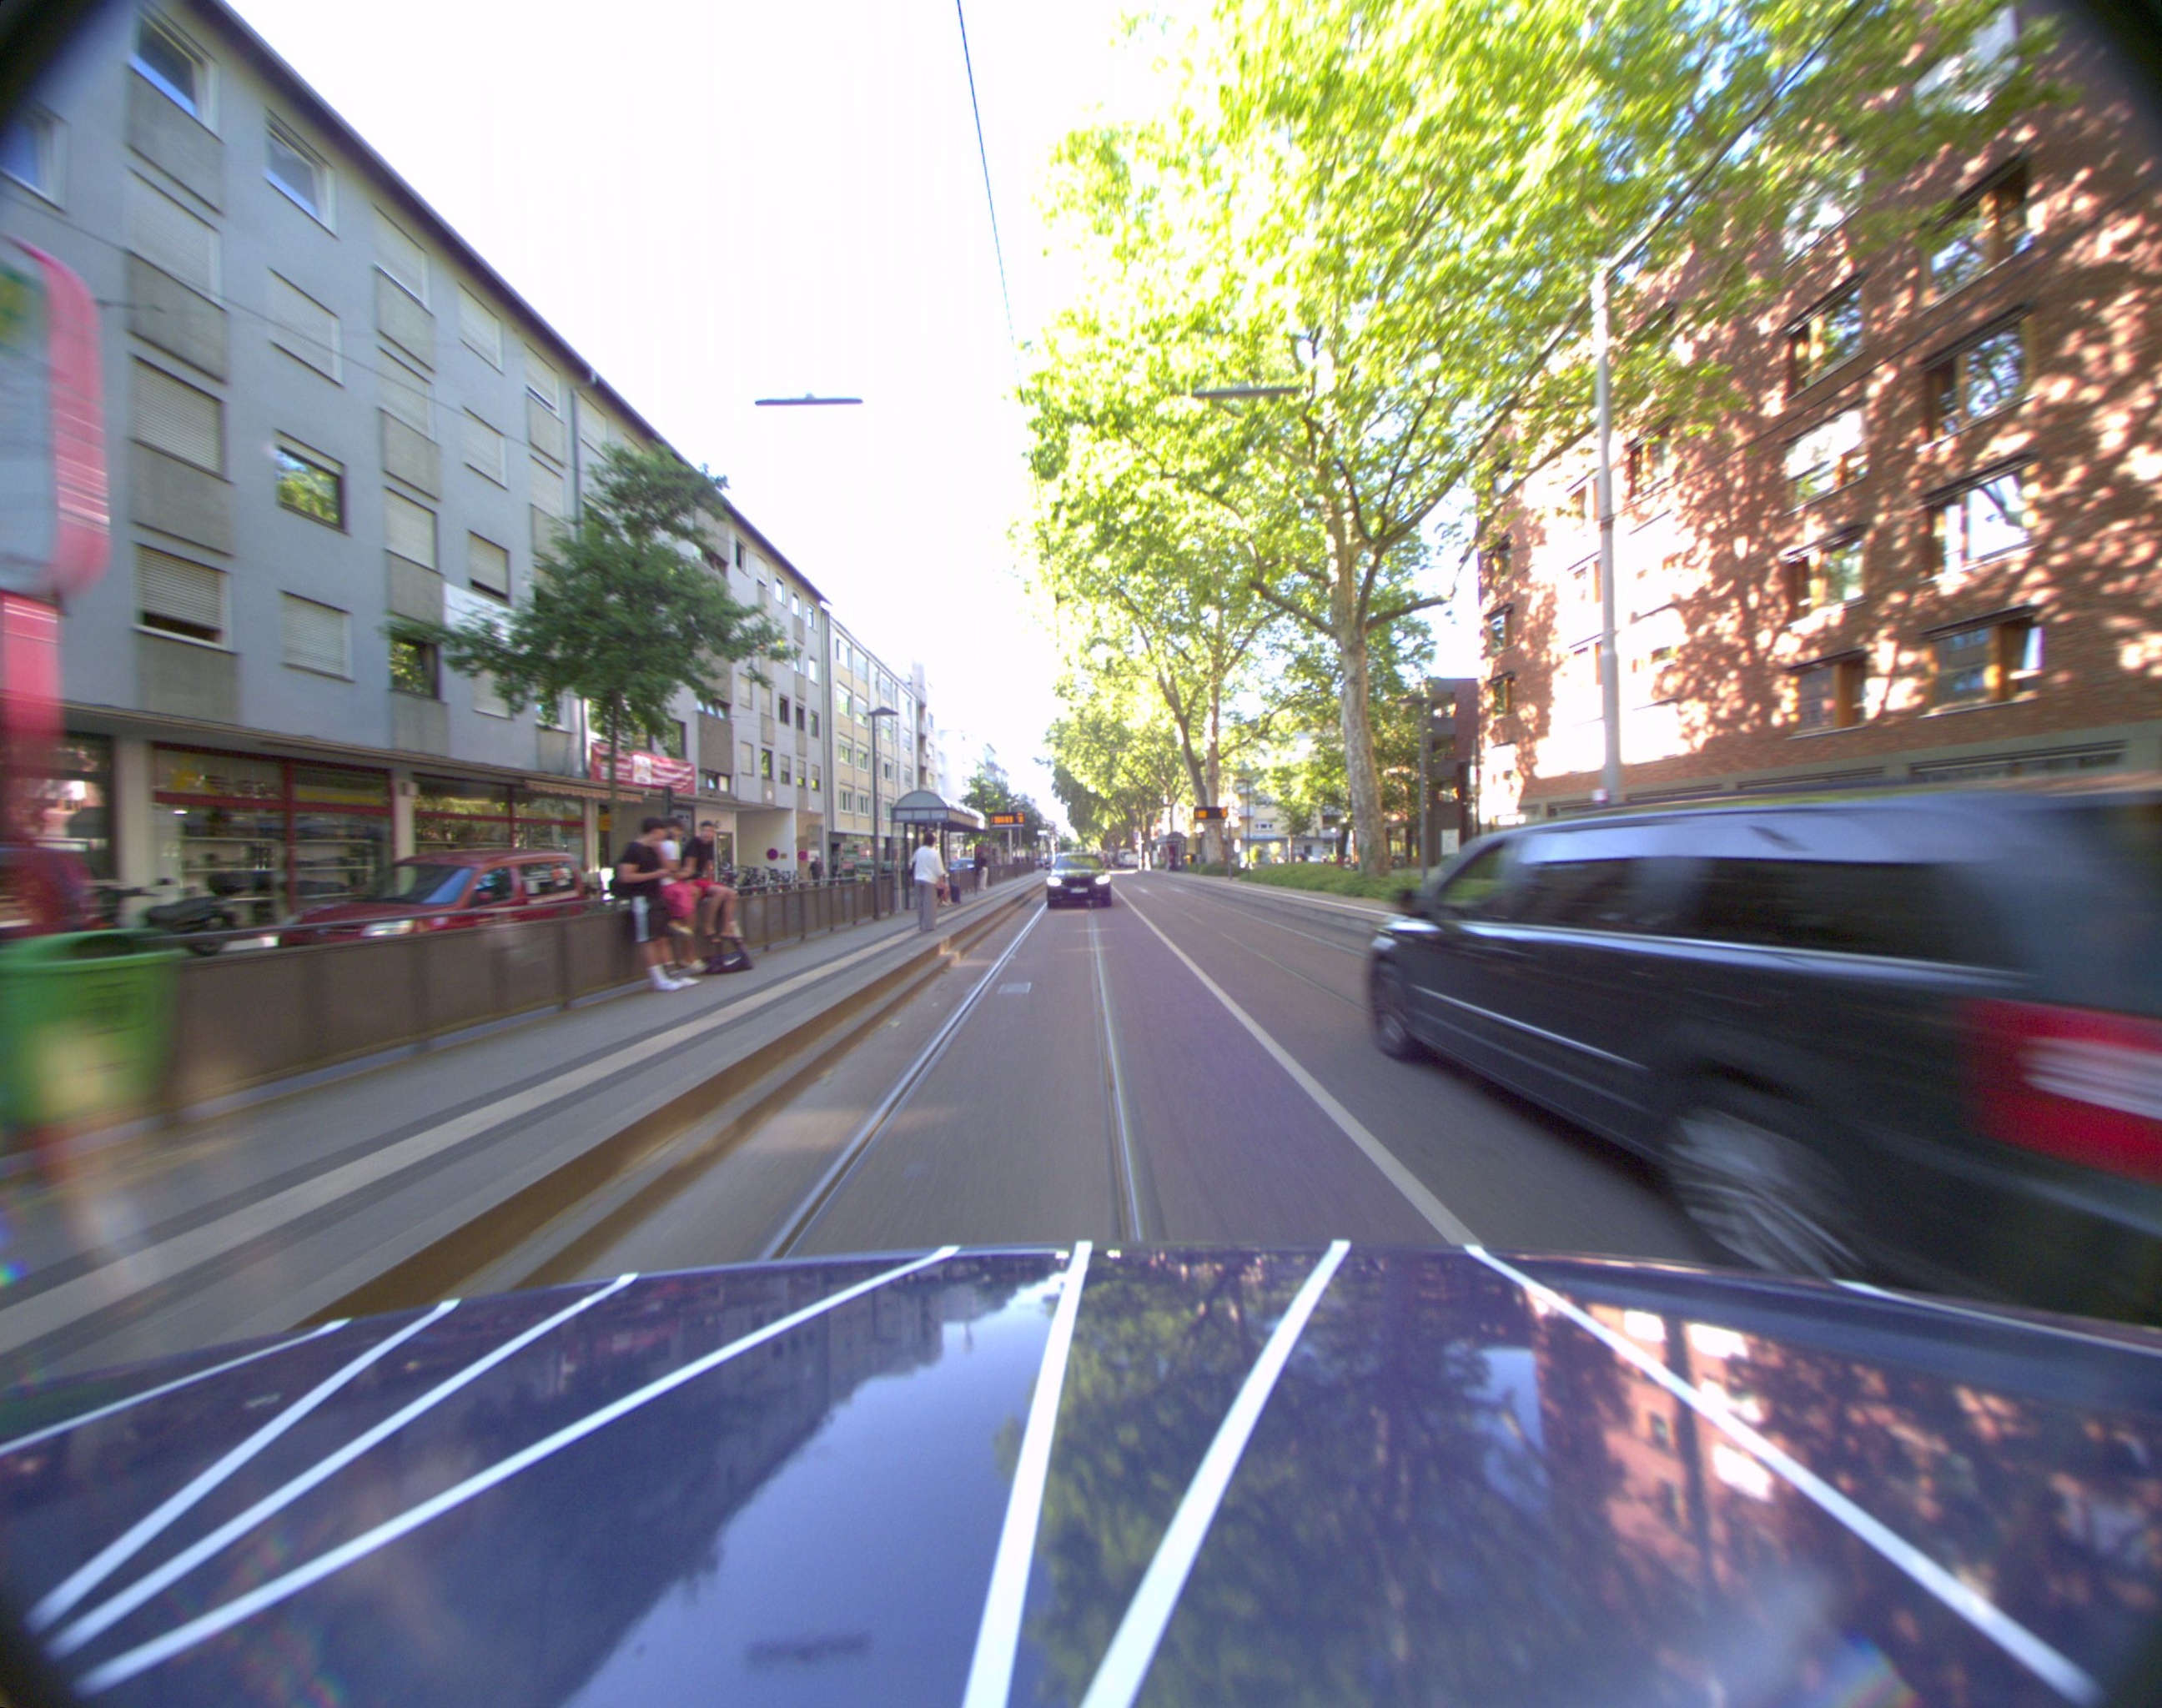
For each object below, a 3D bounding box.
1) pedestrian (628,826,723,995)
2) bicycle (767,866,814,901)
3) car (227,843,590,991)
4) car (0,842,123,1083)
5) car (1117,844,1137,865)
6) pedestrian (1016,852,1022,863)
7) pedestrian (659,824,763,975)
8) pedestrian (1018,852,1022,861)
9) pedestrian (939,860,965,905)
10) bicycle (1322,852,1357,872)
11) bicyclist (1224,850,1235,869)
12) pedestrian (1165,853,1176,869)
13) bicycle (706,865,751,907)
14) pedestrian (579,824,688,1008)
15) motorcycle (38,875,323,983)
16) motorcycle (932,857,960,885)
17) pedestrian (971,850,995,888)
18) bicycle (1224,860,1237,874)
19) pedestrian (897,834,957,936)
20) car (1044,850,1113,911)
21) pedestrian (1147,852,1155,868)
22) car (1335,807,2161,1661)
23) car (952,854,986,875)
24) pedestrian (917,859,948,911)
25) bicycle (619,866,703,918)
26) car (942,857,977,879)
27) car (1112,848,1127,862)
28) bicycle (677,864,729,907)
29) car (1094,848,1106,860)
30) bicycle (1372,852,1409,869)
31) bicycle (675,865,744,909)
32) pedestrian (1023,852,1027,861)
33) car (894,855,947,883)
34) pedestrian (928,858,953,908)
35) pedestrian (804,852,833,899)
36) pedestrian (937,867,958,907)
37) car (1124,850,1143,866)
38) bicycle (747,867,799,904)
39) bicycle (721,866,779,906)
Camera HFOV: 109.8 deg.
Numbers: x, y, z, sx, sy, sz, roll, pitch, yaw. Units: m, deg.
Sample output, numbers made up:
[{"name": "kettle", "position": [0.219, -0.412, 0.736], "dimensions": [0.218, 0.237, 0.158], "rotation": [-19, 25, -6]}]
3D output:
[{"name": "pedestrian", "position": [-4.416, 0.589, 8.304], "dimensions": [0.493, 1.760, 0.704], "rotation": [-2, 1, 15]}, {"name": "bicycle", "position": [-10.796, 1.062, 28.320], "dimensions": [0.773, 1.173, 2.782], "rotation": [4, -1, -4]}, {"name": "car", "position": [-9.573, 0.753, 11.392], "dimensions": [1.693, 1.745, 4.173], "rotation": [-2, 1, -1]}, {"name": "car", "position": [-9.640, 0.847, 4.716], "dimensions": [1.998, 1.885, 4.194], "rotation": [2, 0, 2]}, {"name": "car", "position": [6.696, 0.013, 110.251], "dimensions": [2.429, 2.833, 5.072], "rotation": [-3, 1, 0]}, {"name": "pedestrian", "position": [-8.781, 0.496, 107.466], "dimensions": [0.752, 1.645, 0.970], "rotation": [-2, 1, -1]}, {"name": "pedestrian", "position": [-4.341, 0.512, 8.979], "dimensions": [0.847, 1.691, 0.692], "rotation": [-2, 1, -6]}, {"name": "pedestrian", "position": [-10.976, 0.437, 136.347], "dimensions": [0.685, 1.645, 0.836], "rotation": [-2, 1, -1]}, {"name": "pedestrian", "position": [-3.641, 0.798, 21.437], "dimensions": [0.680, 1.198, 0.648], "rotation": [-2, 1, -10]}, {"name": "bicycle", "position": [16.860, 0.532, 49.678], "dimensions": [2.098, 1.182, 0.882], "rotation": [-2, 1, 17]}, {"name": "bicyclist", "position": [12.368, 0.462, 63.210], "dimensions": [0.735, 1.506, 0.892], "rotation": [-2, 1, 3]}, {"name": "pedestrian", "position": [6.847, 0.544, 58.110], "dimensions": [0.708, 1.197, 0.473], "rotation": [-2, 1, 2]}, {"name": "bicycle", "position": [-10.951, 0.963, 23.702], "dimensions": [0.774, 1.173, 2.779], "rotation": [4, -1, -16]}, {"name": "pedestrian", "position": [-4.460, 0.597, 7.614], "dimensions": [0.690, 1.745, 0.580], "rotation": [-2, 1, -6]}, {"name": "motorcycle", "position": [-12.895, 0.998, 11.094], "dimensions": [0.954, 1.309, 2.650], "rotation": [4, -1, -1]}, {"name": "motorcycle", "position": [-7.398, 0.897, 41.624], "dimensions": [1.054, 1.446, 2.208], "rotation": [-2, 1, 1]}, {"name": "pedestrian", "position": [-4.143, 0.611, 32.152], "dimensions": [0.648, 1.567, 0.855], "rotation": [-2, 1, 18]}, {"name": "bicycle", "position": [12.392, 1.052, 63.209], "dimensions": [0.748, 1.088, 2.039], "rotation": [-2, 1, 3]}, {"name": "pedestrian", "position": [-2.670, 0.526, 13.240], "dimensions": [0.836, 1.703, 0.640], "rotation": [-2, 1, 2]}, {"name": "car", "position": [-0.096, 0.773, 25.064], "dimensions": [1.937, 1.718, 5.072], "rotation": [-3, 1, -1]}, {"name": "pedestrian", "position": [6.953, 0.629, 75.932], "dimensions": [0.708, 1.585, 0.561], "rotation": [-2, 1, 2]}, {"name": "car", "position": [3.143, 0.705, 3.814], "dimensions": [1.998, 1.706, 5.142], "rotation": [-2, 1, 0]}, {"name": "car", "position": [-9.055, 0.829, 61.727], "dimensions": [1.998, 1.572, 4.000], "rotation": [-2, 1, 1]}, {"name": "pedestrian", "position": [-3.919, 0.819, 20.091], "dimensions": [0.721, 1.318, 0.493], "rotation": [-2, 1, -10]}, {"name": "bicycle", "position": [-10.916, 0.939, 19.875], "dimensions": [0.773, 1.173, 2.782], "rotation": [2, 0, -4]}, {"name": "car", "position": [-8.915, 1.003, 56.068], "dimensions": [1.899, 1.477, 4.000], "rotation": [-2, 1, 1]}, {"name": "car", "position": [6.413, 0.146, 128.235], "dimensions": [2.142, 2.274, 4.964], "rotation": [-3, 1, 0]}, {"name": "bicycle", "position": [-11.453, 0.927, 23.142], "dimensions": [0.774, 1.173, 2.779], "rotation": [4, -1, -14]}, {"name": "car", "position": [3.816, 0.040, 151.623], "dimensions": [2.142, 2.274, 4.964], "rotation": [-3, 1, 0]}, {"name": "bicycle", "position": [20.120, 0.432, 49.446], "dimensions": [0.823, 1.088, 2.033], "rotation": [-3, 1, -37]}, {"name": "bicycle", "position": [-10.937, 0.946, 22.491], "dimensions": [0.773, 1.173, 2.782], "rotation": [4, -1, -4]}, {"name": "pedestrian", "position": [-10.021, 0.401, 136.412], "dimensions": [0.685, 1.645, 0.836], "rotation": [-2, 1, -1]}, {"name": "car", "position": [-9.479, 0.844, 45.295], "dimensions": [1.958, 1.474, 4.660], "rotation": [-3, 1, 2]}, {"name": "pedestrian", "position": [-3.810, 0.781, 20.597], "dimensions": [0.586, 1.297, 0.526], "rotation": [-3, 1, -10]}, {"name": "pedestrian", "position": [-10.462, 0.844, 30.262], "dimensions": [0.771, 1.794, 0.681], "rotation": [-1, 3, 36]}, {"name": "pedestrian", "position": [-3.682, 0.906, 20.998], "dimensions": [0.522, 1.049, 0.425], "rotation": [-2, 1, -10]}, {"name": "car", "position": [6.911, 0.490, 100.076], "dimensions": [2.041, 1.881, 5.072], "rotation": [-3, 1, 0]}, {"name": "bicycle", "position": [-10.578, 1.052, 26.226], "dimensions": [0.773, 1.173, 2.782], "rotation": [4, -1, -4]}, {"name": "bicycle", "position": [-10.690, 1.002, 24.655], "dimensions": [0.773, 1.173, 2.782], "rotation": [4, -1, -4]}]
